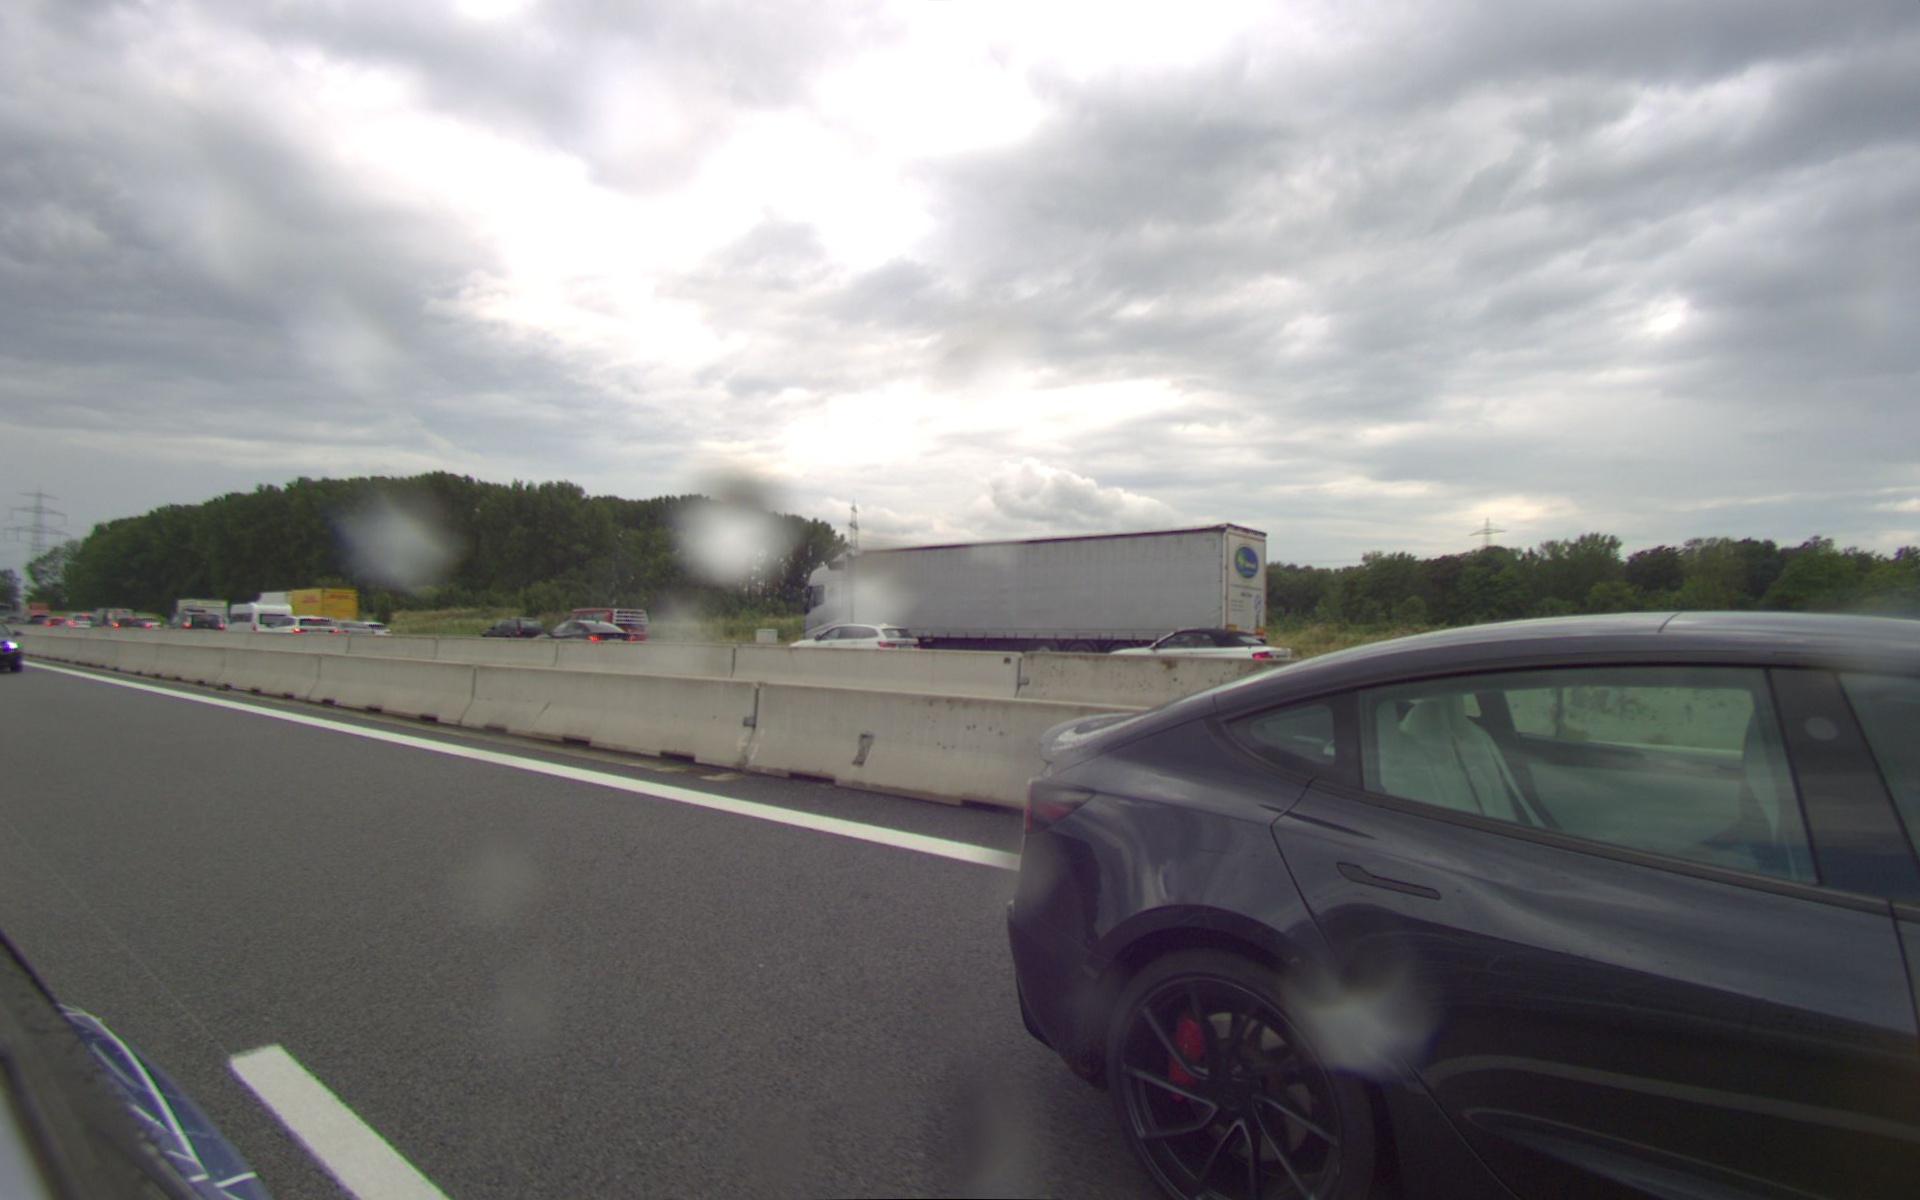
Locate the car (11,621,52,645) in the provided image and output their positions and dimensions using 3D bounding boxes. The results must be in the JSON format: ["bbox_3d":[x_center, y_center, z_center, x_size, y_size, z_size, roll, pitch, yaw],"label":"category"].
[{"bbox_3d":[-76.441,2.712,83.294,4.501,1.918,1.973,-1,-1,41],"label":"car"}]

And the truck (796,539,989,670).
[{"bbox_3d":[-2.407,0.183,35.028,6.229,4.088,3.187,-1,-1,41],"label":"truck"}]

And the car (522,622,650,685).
[{"bbox_3d":[-12.427,1.695,33.462,4.758,1.887,1.973,-1,-1,41],"label":"car"}]

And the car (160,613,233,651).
[{"bbox_3d":[-38.168,1.580,50.551,4.670,1.795,1.973,-1,-1,41],"label":"car"}]

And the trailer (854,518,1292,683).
[{"bbox_3d":[2.697,0.115,30.647,13.800,4.059,3.205,-1,-1,41],"label":"trailer"}]

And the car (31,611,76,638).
[{"bbox_3d":[-70.007,1.852,78.111,4.683,2.029,1.973,-1,-1,40],"label":"car"}]

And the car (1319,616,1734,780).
[{"bbox_3d":[8.258,1.270,15.100,5.095,2.029,1.973,-1,-1,41],"label":"car"}]

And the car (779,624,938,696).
[{"bbox_3d":[-3.053,1.686,29.792,4.758,1.887,1.973,-1,-1,41],"label":"car"}]

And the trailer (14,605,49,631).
[{"bbox_3d":[-143.241,2.783,156.059,9.154,3.791,2.831,-1,-2,40],"label":"trailer"}]

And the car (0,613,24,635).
[{"bbox_3d":[-90.915,2.311,96.354,5.414,2.029,1.973,-1,-1,40],"label":"car"}]

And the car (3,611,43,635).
[{"bbox_3d":[-83.206,2.040,89.847,5.414,2.029,1.973,-1,-1,40],"label":"car"}]

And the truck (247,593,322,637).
[{"bbox_3d":[-57.936,1.273,86.623,10.308,3.640,2.848,-1,-1,42],"label":"truck"}]

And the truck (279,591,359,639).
[{"bbox_3d":[-51.076,1.174,80.515,9.577,3.640,2.848,-1,-1,42],"label":"truck"}]

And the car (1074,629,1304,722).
[{"bbox_3d":[4.971,1.567,22.383,4.670,1.795,1.802,-1,-1,41],"label":"car"}]

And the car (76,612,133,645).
[{"bbox_3d":[-56.237,1.859,66.507,5.753,2.029,1.973,-1,-1,40],"label":"car"}]

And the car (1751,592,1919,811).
[{"bbox_3d":[9.755,0.868,8.850,4.360,1.906,1.973,-1,-1,41],"label":"car"}]

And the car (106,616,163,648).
[{"bbox_3d":[-48.870,1.866,59.876,3.998,1.763,1.973,-1,-1,41],"label":"car"}]

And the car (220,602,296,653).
[{"bbox_3d":[-47.939,1.837,69.089,6.557,3.302,2.634,-1,-1,40],"label":"car"}]

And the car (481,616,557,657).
[{"bbox_3d":[-23.465,1.896,53.783,4.540,2.029,1.973,-1,-1,41],"label":"car"}]

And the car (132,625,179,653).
[{"bbox_3d":[-61.392,2.954,77.173,4.810,2.029,1.973,-1,-1,41],"label":"car"}]

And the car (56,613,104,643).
[{"bbox_3d":[-62.633,1.972,72.001,4.422,2.029,1.973,-1,-1,41],"label":"car"}]

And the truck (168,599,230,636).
[{"bbox_3d":[-72.270,1.656,96.024,9.196,3.315,2.880,-1,-1,41],"label":"truck"}]

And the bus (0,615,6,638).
[{"bbox_3d":[-149.037,4.005,155.156,13.988,3.411,2.660,-1,-1,41],"label":"bus"}]

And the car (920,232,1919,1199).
[{"bbox_3d":[2.473,0.361,1.909,5.160,1.834,1.973,-1,-1,41],"label":"car"}]

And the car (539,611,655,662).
[{"bbox_3d":[-14.473,1.419,40.195,5.390,1.887,1.973,-1,-1,41],"label":"car"}]

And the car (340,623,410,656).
[{"bbox_3d":[-32.670,2.192,56.439,4.696,1.728,1.973,-1,-1,41],"label":"car"}]

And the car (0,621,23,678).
[{"bbox_3d":[-26.184,1.289,26.620,3.999,1.426,1.897,-2,-2,42],"label":"car"}]

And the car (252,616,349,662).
[{"bbox_3d":[-26.403,1.507,40.462,4.868,1.728,1.973,-1,-1,41],"label":"car"}]

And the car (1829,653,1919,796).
[{"bbox_3d":[15.032,1.748,13.829,4.758,1.887,1.973,-1,-1,41],"label":"car"}]

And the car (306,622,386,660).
[{"bbox_3d":[-29.685,1.935,48.857,4.696,1.728,1.973,-1,-1,41],"label":"car"}]
